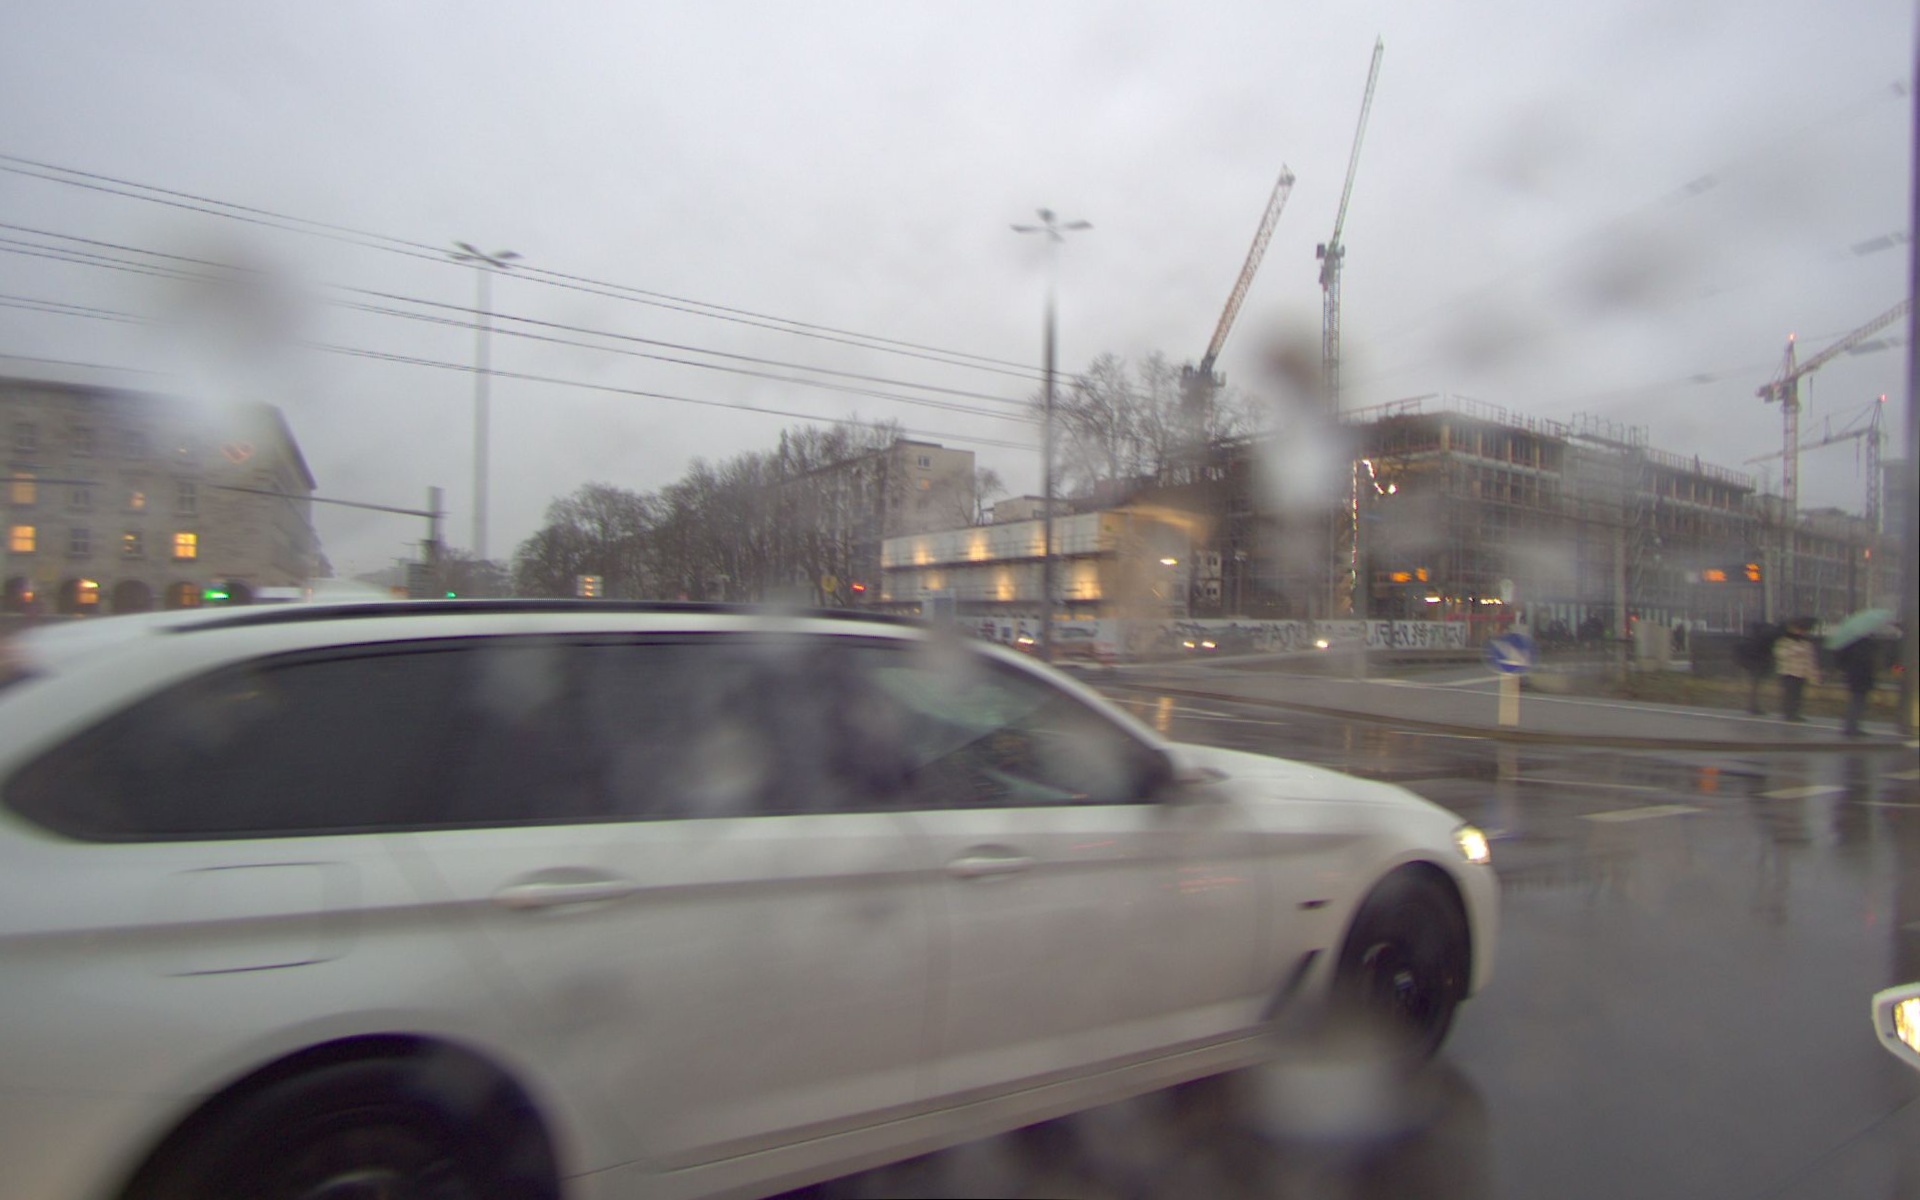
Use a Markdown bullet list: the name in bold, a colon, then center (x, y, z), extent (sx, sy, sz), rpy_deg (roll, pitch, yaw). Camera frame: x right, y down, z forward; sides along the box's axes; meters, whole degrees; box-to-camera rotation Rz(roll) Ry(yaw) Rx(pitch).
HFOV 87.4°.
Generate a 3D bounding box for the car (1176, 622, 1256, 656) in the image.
- **car**: center (13.117, 1.996, 51.390), extent (4.197, 1.638, 1.858), rpy_deg (2, 0, -39)

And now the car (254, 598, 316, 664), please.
- **car**: center (-30.292, 1.345, 45.206), extent (1.977, 2.747, 4.403), rpy_deg (2, 0, -31)

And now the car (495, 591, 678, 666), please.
- **car**: center (-11.156, 0.840, 30.221), extent (4.759, 2.040, 1.974), rpy_deg (2, 0, -44)

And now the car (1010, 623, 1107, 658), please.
- **car**: center (4.523, 1.837, 45.671), extent (4.232, 1.479, 1.977), rpy_deg (2, 0, -39)

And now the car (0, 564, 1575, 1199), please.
- **car**: center (-0.315, 0.756, 3.186), extent (4.890, 1.485, 1.843), rpy_deg (2, -2, -31)

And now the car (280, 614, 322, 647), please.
- **car**: center (-41.177, 1.898, 62.850), extent (1.977, 1.904, 4.403), rpy_deg (2, 0, -31)

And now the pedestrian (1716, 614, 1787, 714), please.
- **pedestrian**: center (14.274, 1.130, 18.144), extent (0.845, 1.737, 0.763), rpy_deg (2, 0, 28)

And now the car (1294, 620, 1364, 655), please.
- **car**: center (21.387, 2.147, 58.193), extent (4.348, 1.898, 1.858), rpy_deg (2, 0, -39)

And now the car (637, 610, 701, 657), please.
- **car**: center (-13.013, 1.468, 44.768), extent (1.737, 1.904, 4.162), rpy_deg (2, 0, -31)

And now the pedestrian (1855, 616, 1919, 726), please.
- **pedestrian**: center (15.371, 1.154, 16.611), extent (0.642, 1.740, 0.749), rpy_deg (2, 0, 28)

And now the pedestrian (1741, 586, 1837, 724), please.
- **pedestrian**: center (14.109, 0.909, 17.129), extent (1.033, 2.237, 0.956), rpy_deg (2, 0, 28)

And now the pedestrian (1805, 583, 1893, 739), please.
- **pedestrian**: center (13.036, 0.860, 14.723), extent (0.893, 2.174, 1.012), rpy_deg (2, 0, 43)

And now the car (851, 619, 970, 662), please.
- **car**: center (-1.862, 1.539, 38.944), extent (4.410, 1.500, 1.974), rpy_deg (2, 0, -44)
